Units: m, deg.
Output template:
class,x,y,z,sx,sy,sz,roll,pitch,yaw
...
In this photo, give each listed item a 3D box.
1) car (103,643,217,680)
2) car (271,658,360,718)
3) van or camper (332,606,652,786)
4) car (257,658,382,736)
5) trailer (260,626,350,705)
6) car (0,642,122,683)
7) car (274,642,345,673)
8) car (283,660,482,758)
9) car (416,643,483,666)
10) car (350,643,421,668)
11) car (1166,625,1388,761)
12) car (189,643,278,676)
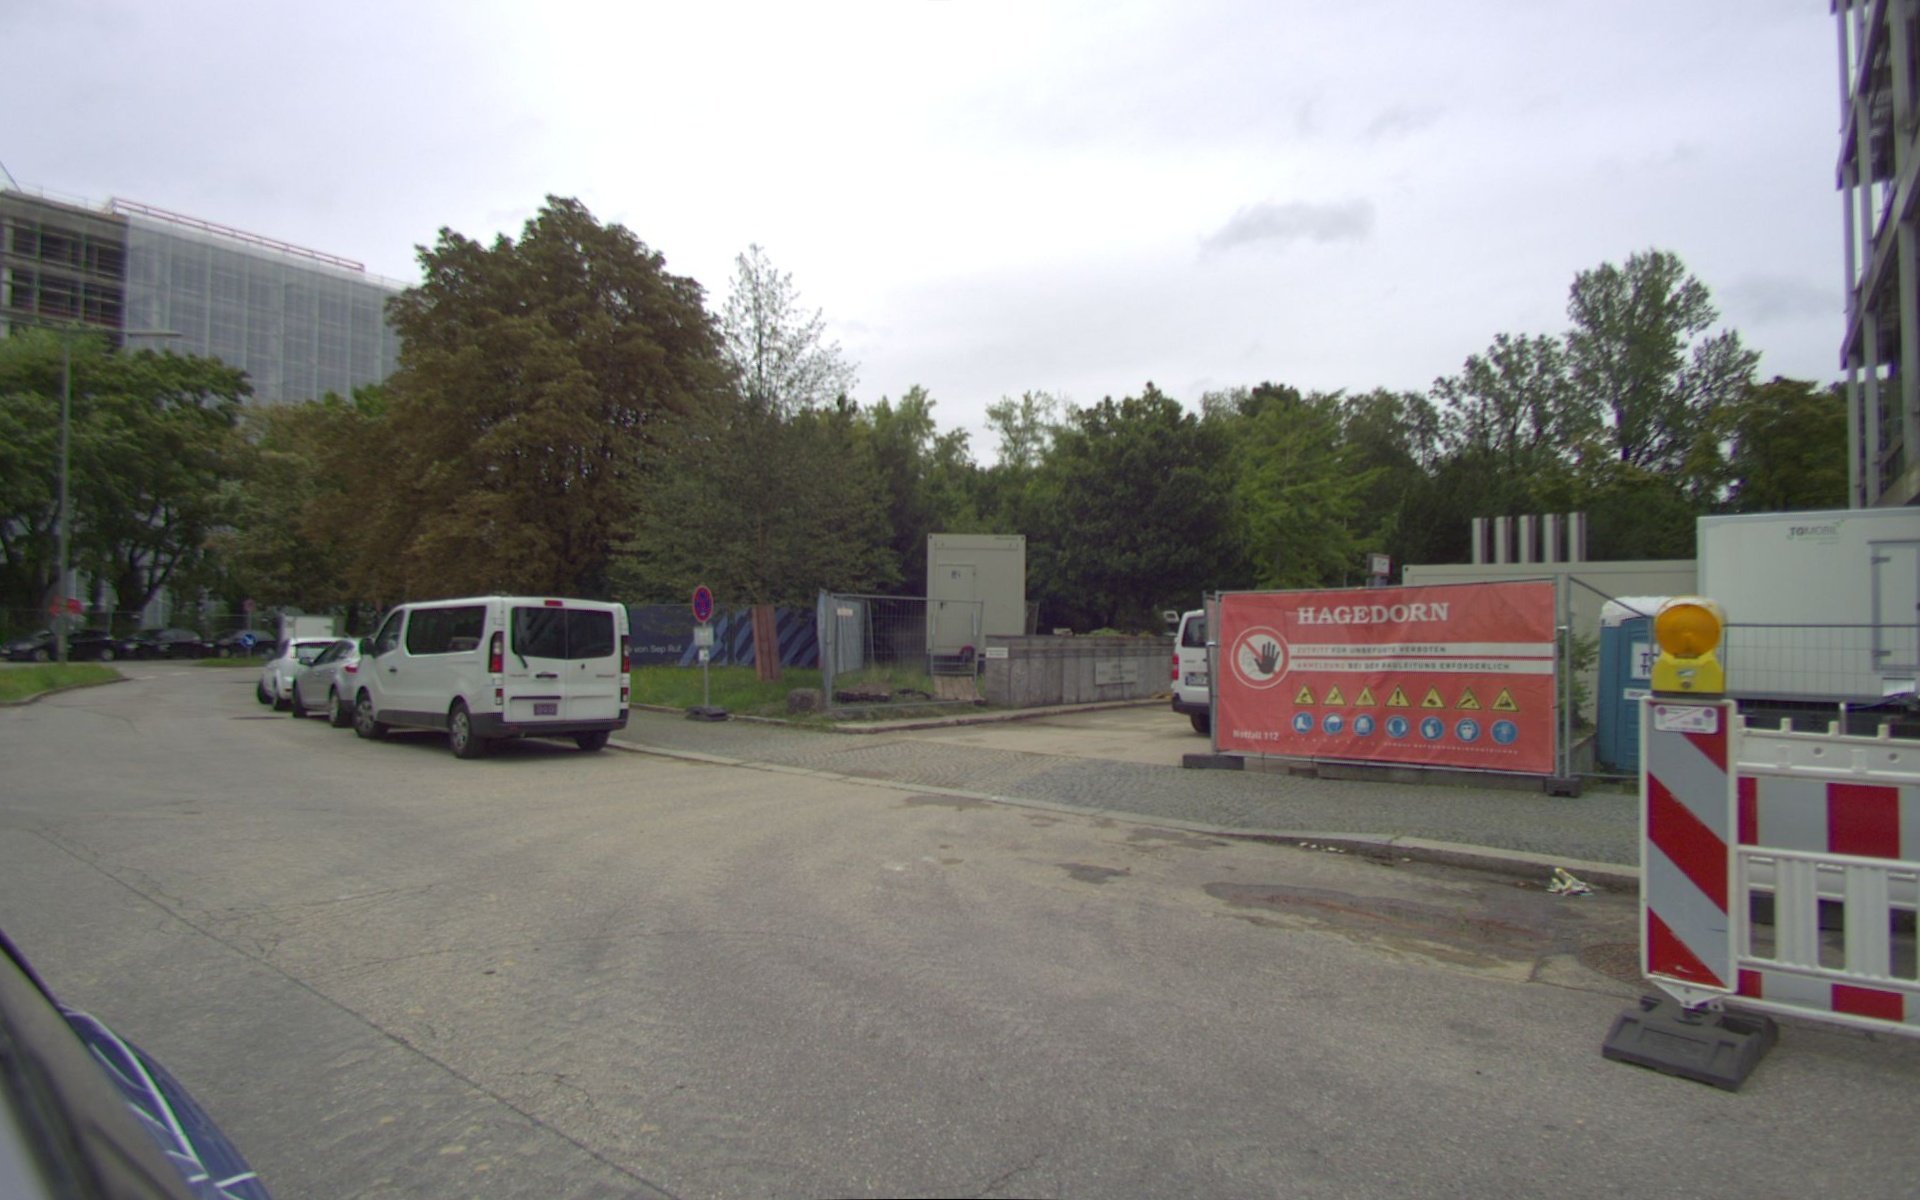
class,x,y,z,sx,sy,sz,roll,pitch,yaw
car,-36.766,2.805,46.613,1.770,1.584,3.873,1,-3,11
car,-16.573,2.221,25.955,1.667,1.423,3.804,4,-5,-35
van or camper,-6.713,1.256,14.143,5.585,2.050,1.968,-3,-6,42
car,-13.698,2.005,21.546,1.715,1.470,4.038,5,-5,-39
trailer,-19.285,1.933,29.920,1.752,2.198,2.785,3,-4,-25
car,-37.653,2.583,42.159,1.774,1.584,3.866,1,-3,16
car,-35.367,3.099,55.080,1.509,1.584,2.894,1,-3,20
car,-10.225,1.835,17.799,1.971,1.470,4.121,6,-6,-45
car,-32.488,3.466,64.507,1.511,1.397,3.691,1,-3,23
car,-34.209,3.318,60.367,1.507,1.397,3.700,1,-3,16
car,5.276,1.403,16.420,1.782,1.879,4.651,-2,-4,40
car,-36.393,2.975,50.775,1.645,1.584,3.245,1,-3,17
